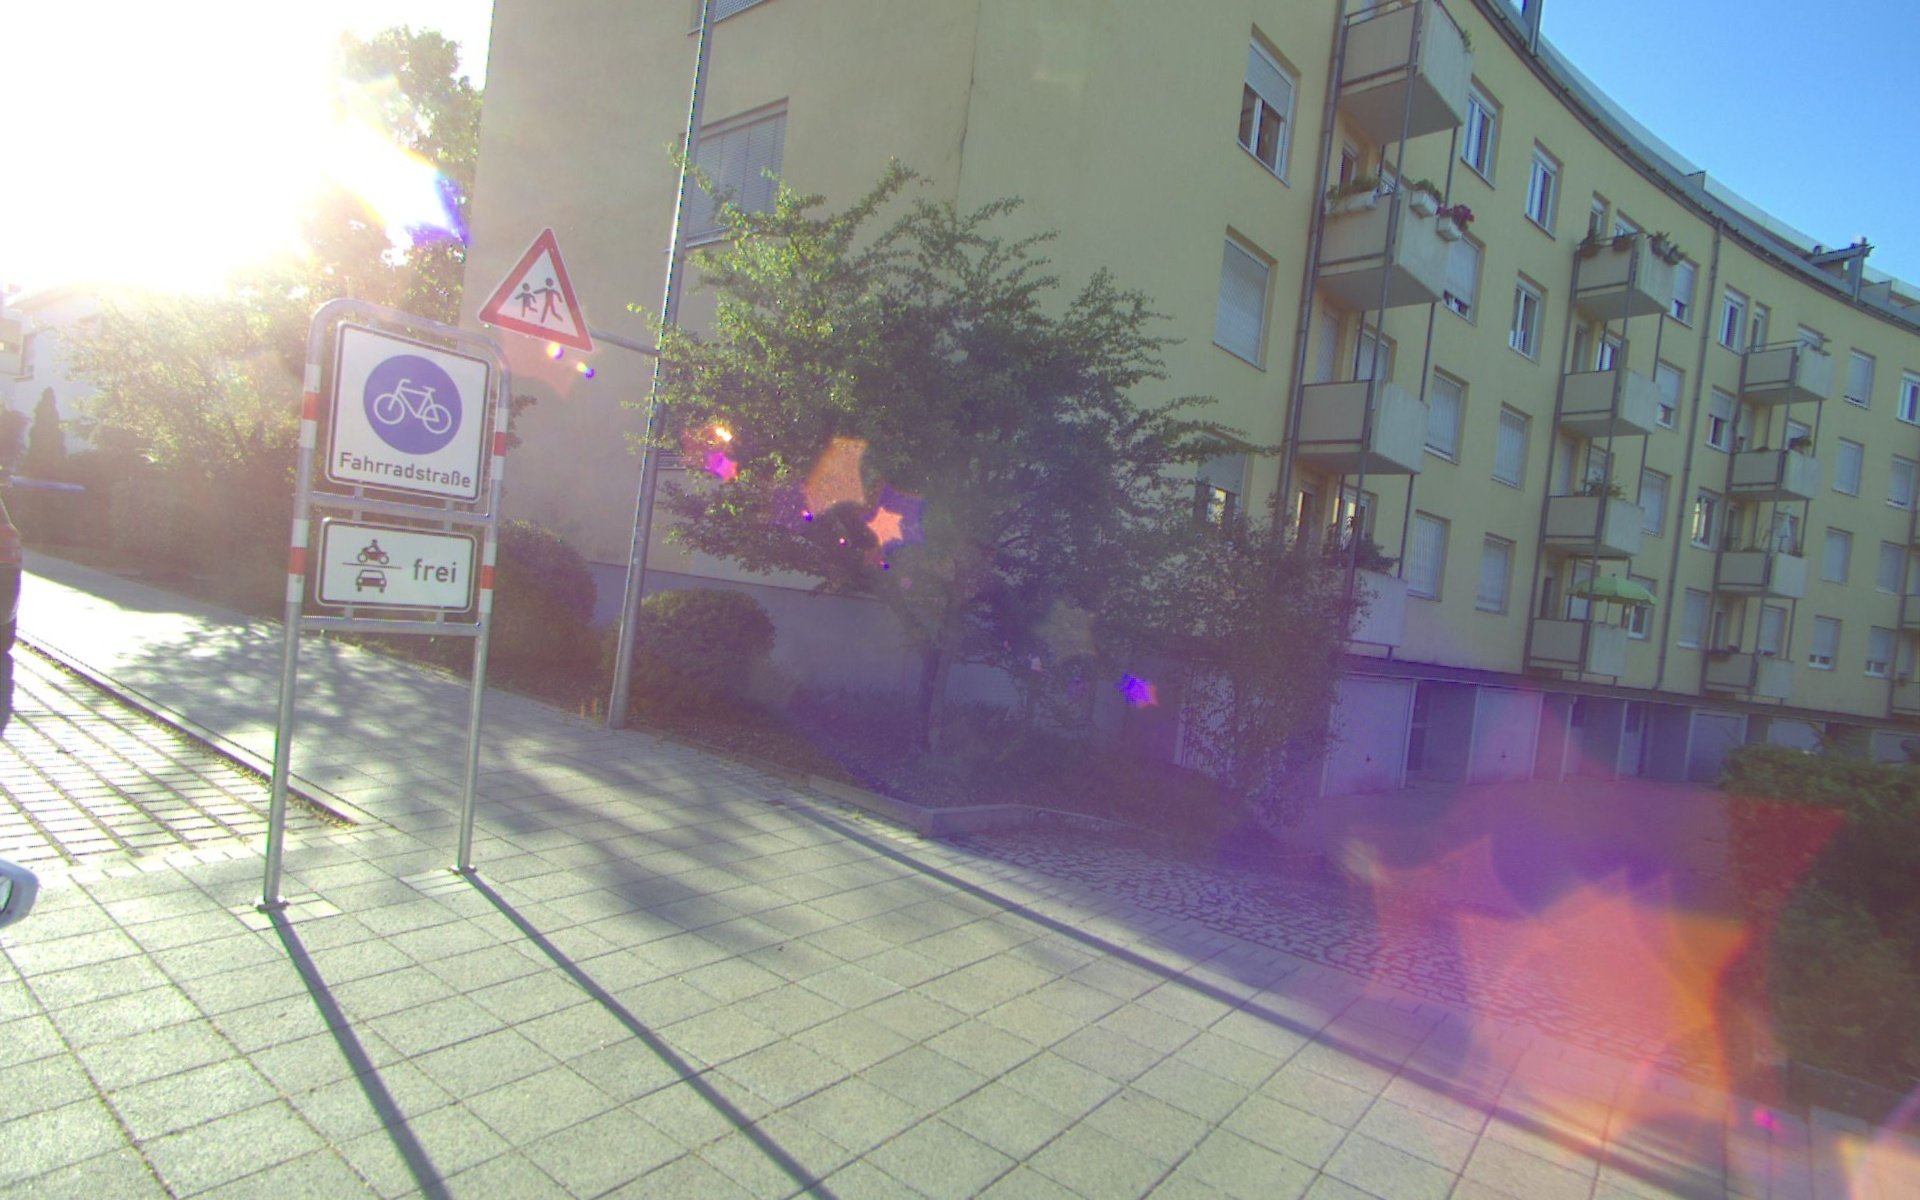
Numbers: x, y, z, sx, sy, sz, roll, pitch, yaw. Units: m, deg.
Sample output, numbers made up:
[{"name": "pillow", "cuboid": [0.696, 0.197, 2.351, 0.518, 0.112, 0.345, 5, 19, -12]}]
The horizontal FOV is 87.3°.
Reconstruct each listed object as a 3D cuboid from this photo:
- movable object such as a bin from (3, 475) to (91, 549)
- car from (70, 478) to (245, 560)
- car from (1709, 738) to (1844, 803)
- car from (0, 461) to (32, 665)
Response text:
[{"name": "movable object such as a bin", "cuboid": [-20.837, -2.004, 22.965, 1.106, 1.450, 1.236, 7, 0, 39]}, {"name": "car", "cuboid": [-21.757, -2.162, 27.342, 1.622, 1.662, 3.484, 7, 0, 45]}, {"name": "car", "cuboid": [21.261, 4.444, 26.191, 3.337, 1.296, 1.629, 8, 0, -32]}, {"name": "car", "cuboid": [-9.701, -0.523, 8.683, 4.104, 1.632, 1.708, 7, 3, 36]}]
